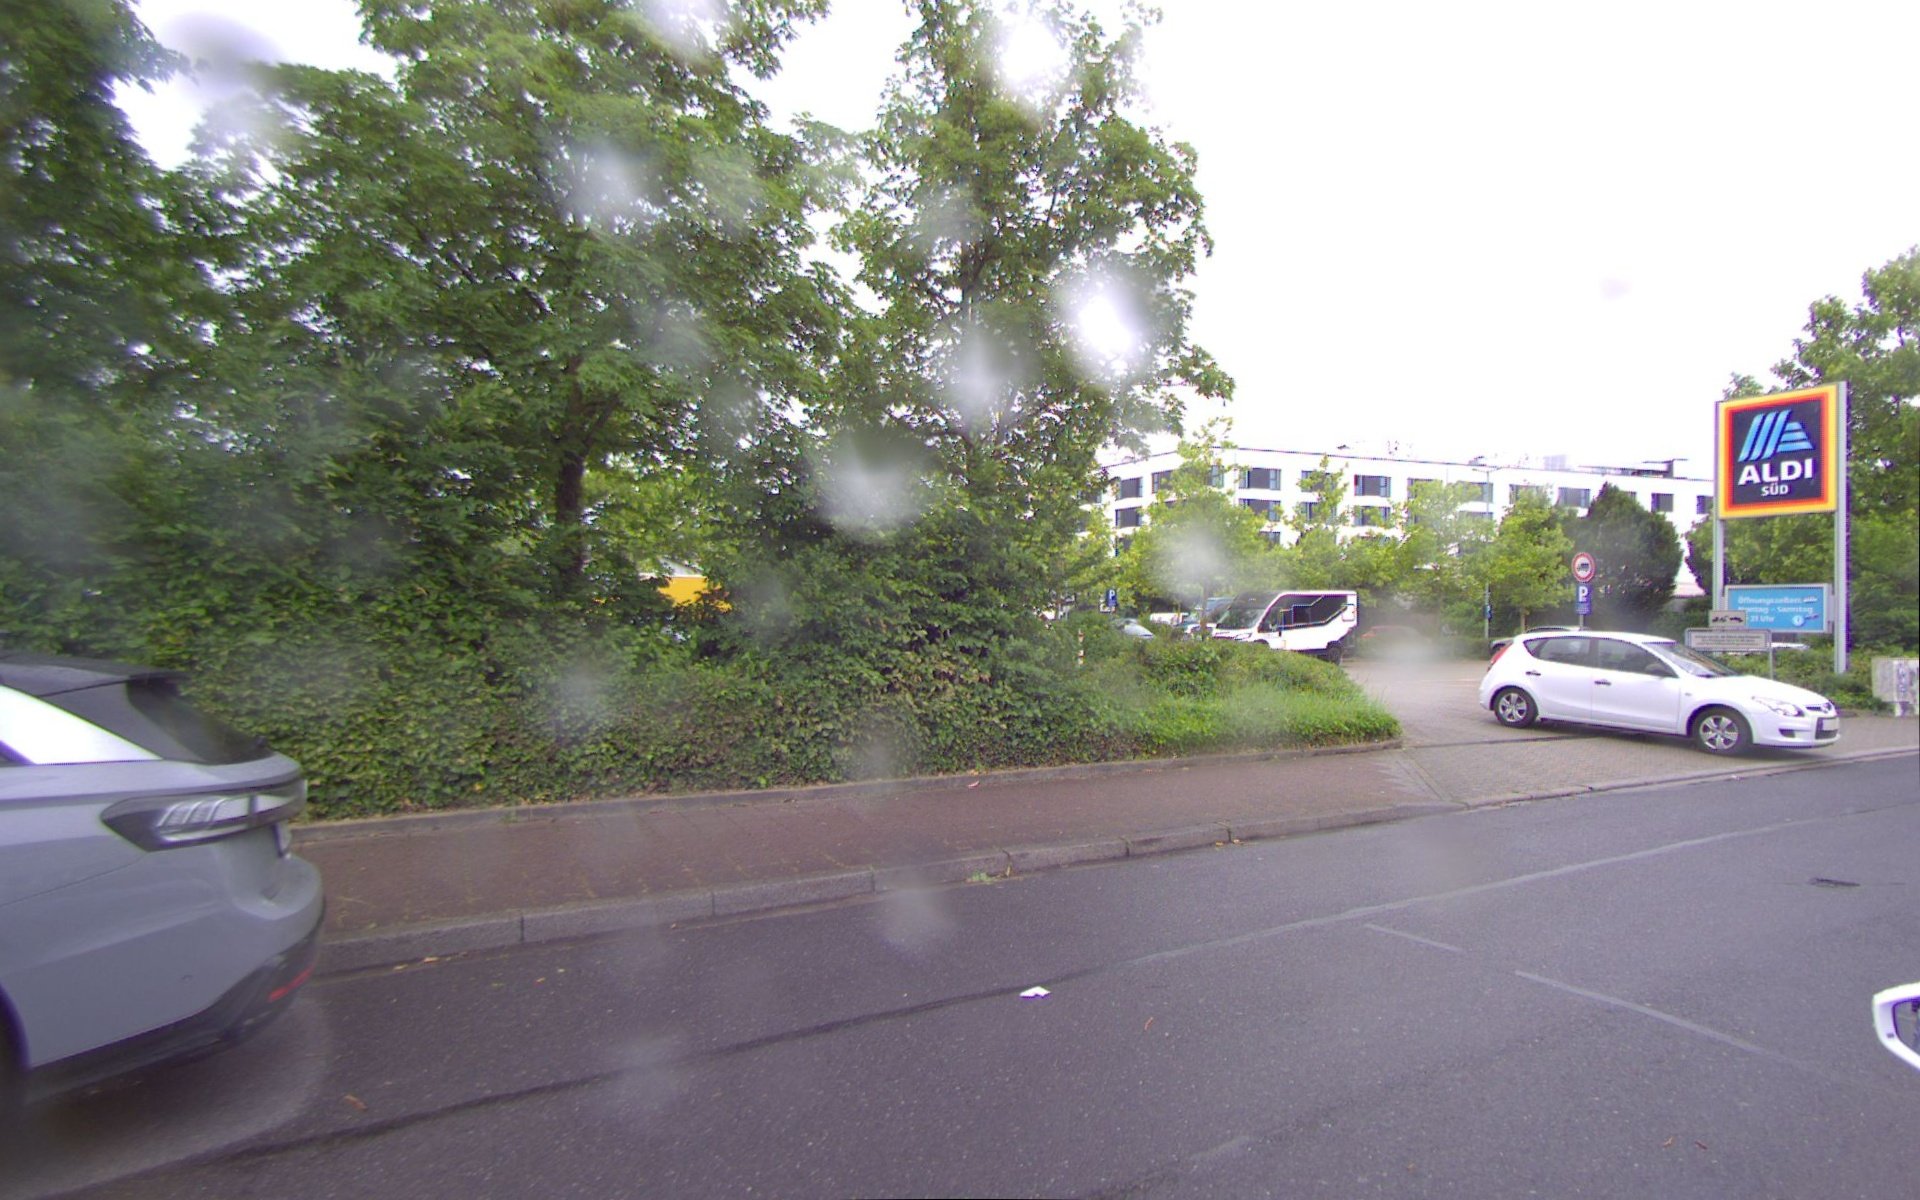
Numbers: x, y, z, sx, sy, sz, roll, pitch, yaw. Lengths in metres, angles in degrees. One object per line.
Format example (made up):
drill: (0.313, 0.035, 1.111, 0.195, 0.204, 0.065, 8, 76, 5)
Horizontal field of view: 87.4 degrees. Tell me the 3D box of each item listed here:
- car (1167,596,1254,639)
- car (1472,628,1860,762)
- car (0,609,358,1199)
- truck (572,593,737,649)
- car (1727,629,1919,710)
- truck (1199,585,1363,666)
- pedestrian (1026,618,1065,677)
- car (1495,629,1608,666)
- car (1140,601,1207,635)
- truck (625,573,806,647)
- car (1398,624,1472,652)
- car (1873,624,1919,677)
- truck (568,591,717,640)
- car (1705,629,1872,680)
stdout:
car: (14.118, 1.008, 56.549, 4.758, 2.327, 1.984, 1, -1, -31)
car: (9.717, 1.203, 14.175, 1.694, 1.479, 4.165, 2, -1, -33)
car: (-4.305, 0.822, 2.570, 4.696, 1.548, 1.800, 2, -5, -32)
truck: (-12.319, 0.884, 40.740, 6.070, 2.122, 1.982, 2, -1, -34)
car: (19.235, 1.455, 21.940, 1.692, 1.479, 3.554, 1, 0, -29)
truck: (11.504, 0.928, 35.795, 6.326, 2.692, 1.983, 2, -1, -32)
pedestrian: (2.416, 1.331, 28.419, 0.761, 1.656, 0.771, 1, -1, -34)
car: (26.702, 2.127, 45.466, 1.976, 1.519, 3.970, 1, -1, -29)
car: (13.905, 1.169, 65.372, 3.954, 2.040, 1.984, 2, -1, -31)
truck: (-9.156, 0.442, 37.903, 6.320, 2.636, 1.984, 1, -1, -30)
car: (28.671, 2.342, 60.738, 1.687, 1.615, 3.816, 1, -3, -24)
car: (29.977, 1.535, 29.754, 1.888, 1.561, 3.969, 1, -1, -30)
truck: (-14.149, 0.738, 44.969, 6.070, 2.087, 1.982, 2, -1, -34)
car: (27.877, 1.790, 33.941, 1.888, 1.561, 3.969, 1, -1, -30)
